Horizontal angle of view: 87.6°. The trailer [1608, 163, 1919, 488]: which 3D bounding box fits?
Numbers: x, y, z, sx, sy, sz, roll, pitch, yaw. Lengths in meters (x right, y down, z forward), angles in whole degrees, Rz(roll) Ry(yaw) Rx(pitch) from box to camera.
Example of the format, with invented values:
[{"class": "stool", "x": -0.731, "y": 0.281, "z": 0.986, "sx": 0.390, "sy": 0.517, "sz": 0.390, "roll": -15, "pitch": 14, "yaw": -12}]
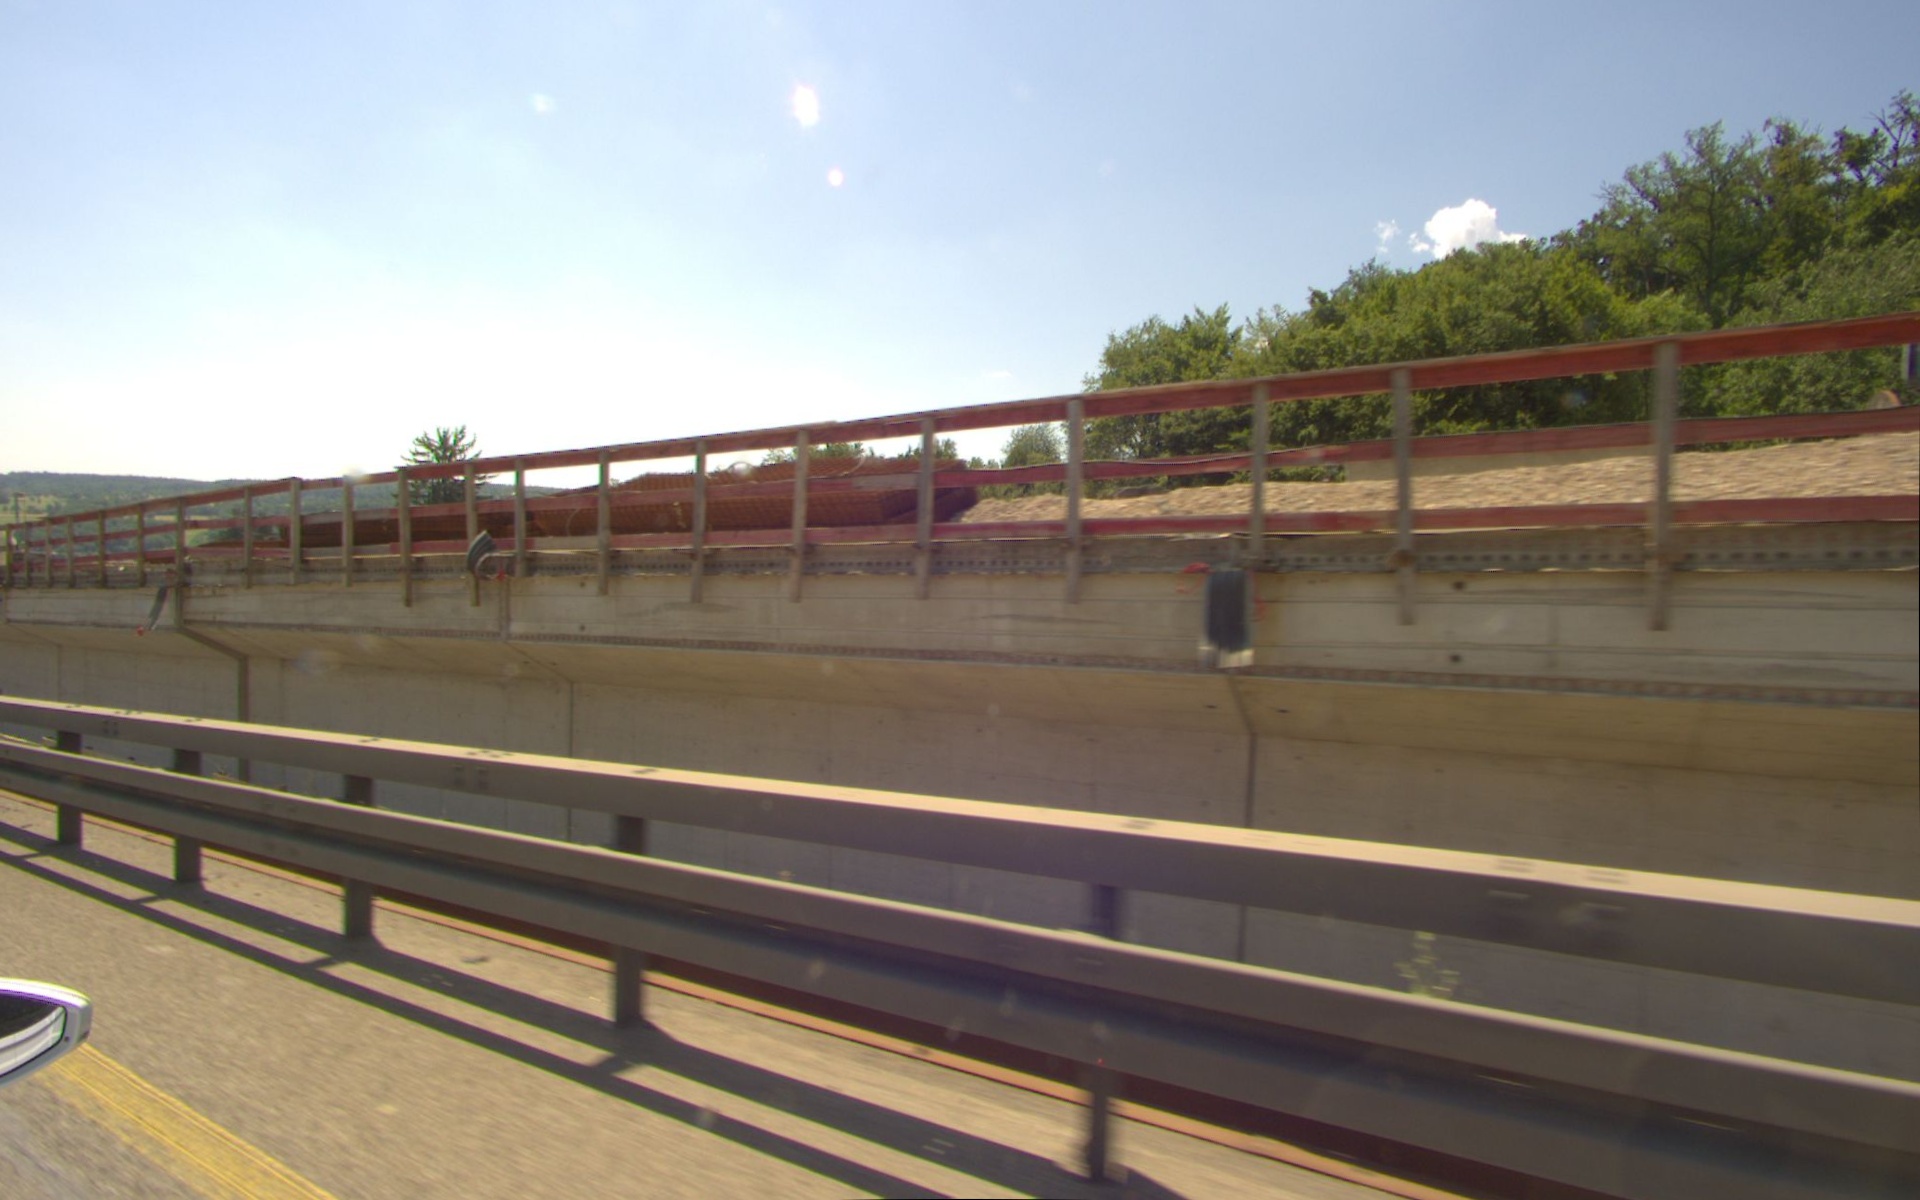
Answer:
[{"class": "trailer", "x": 14.057, "y": -3.771, "z": 13.108, "sx": 2.685, "sy": 3.744, "sz": 8.931, "roll": 1, "pitch": 1, "yaw": -35}]
